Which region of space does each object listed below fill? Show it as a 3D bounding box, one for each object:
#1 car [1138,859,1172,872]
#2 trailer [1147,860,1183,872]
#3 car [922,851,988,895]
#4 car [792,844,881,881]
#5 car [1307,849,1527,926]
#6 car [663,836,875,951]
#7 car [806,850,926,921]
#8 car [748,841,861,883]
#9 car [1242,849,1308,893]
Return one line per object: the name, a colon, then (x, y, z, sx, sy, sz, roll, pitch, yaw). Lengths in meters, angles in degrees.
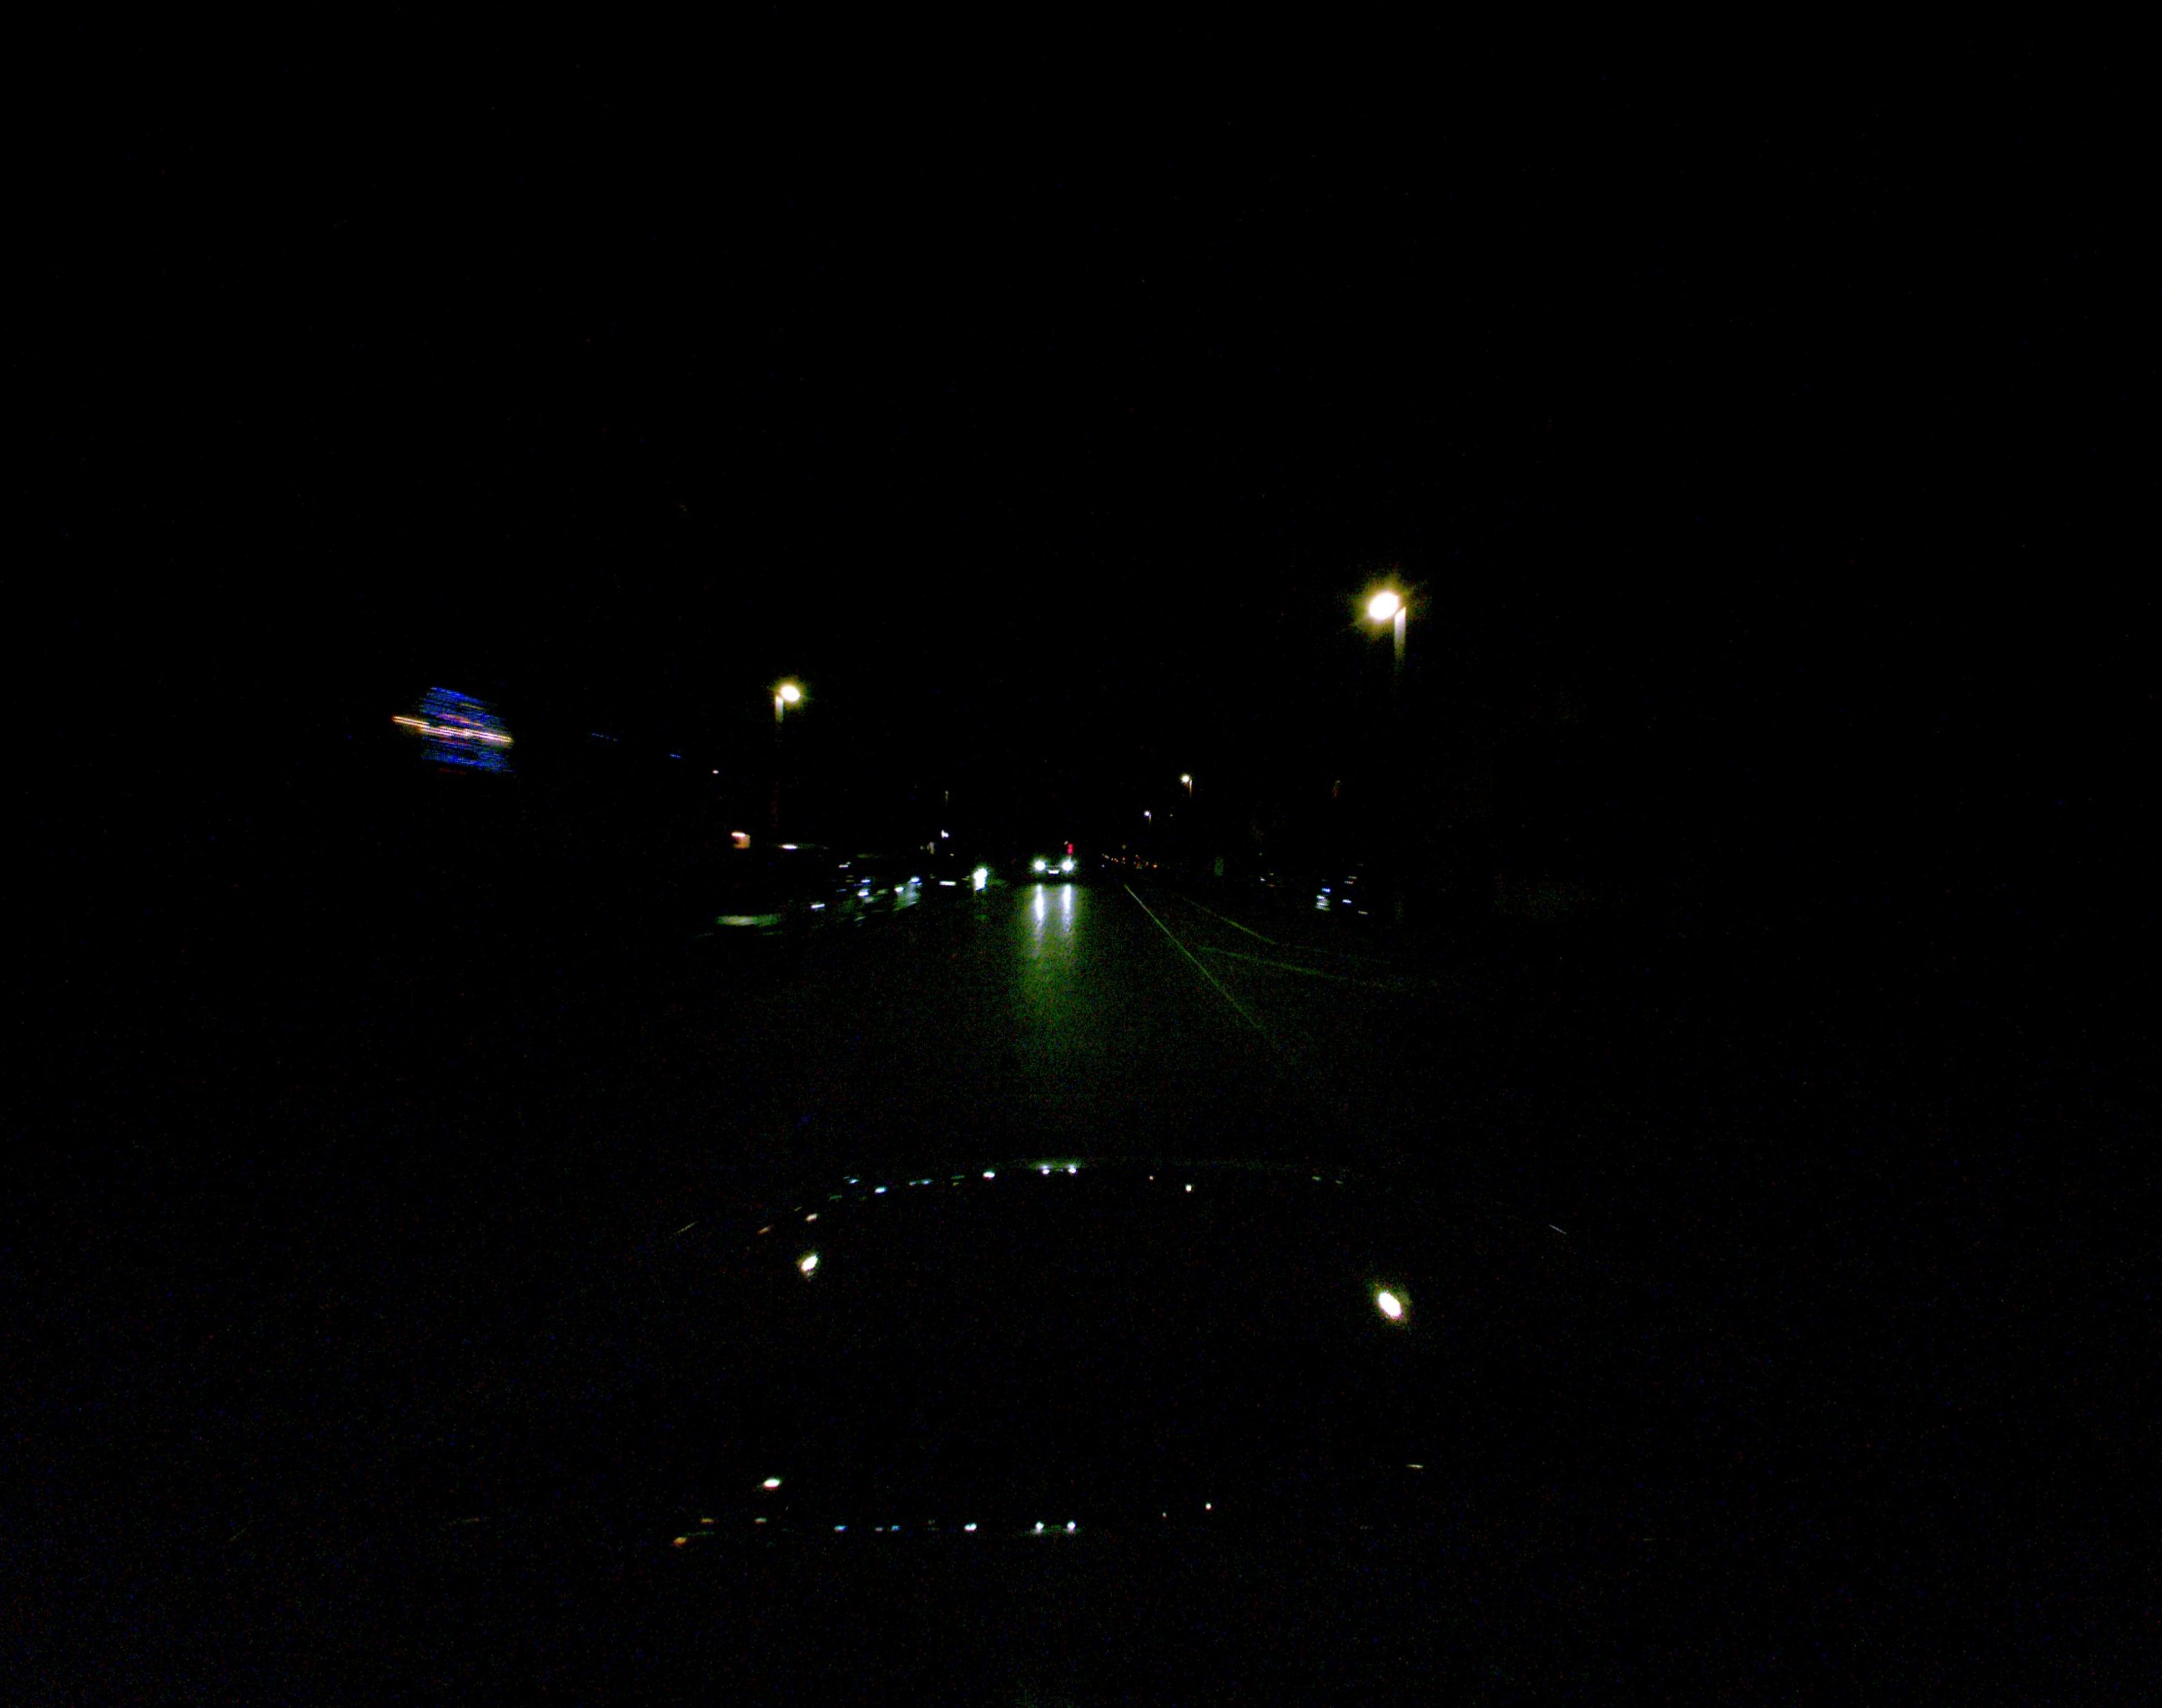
car: (7.809, 1.175, 85.891, 3.382, 1.232, 1.723, -2, 0, -1)
trailer: (8.492, 1.227, 82.129, 3.420, 1.002, 1.954, 4, -1, 0)
car: (-4.546, 0.664, 29.902, 1.743, 1.468, 4.008, 2, 0, 0)
car: (-12.380, 0.427, 41.477, 3.982, 1.703, 1.944, -1, 0, -7)
car: (6.961, 0.671, 17.163, 3.891, 1.486, 1.832, -1, 0, 0)
car: (-5.163, 0.586, 14.259, 1.922, 1.636, 4.470, 2, 0, 0)
car: (-5.023, 0.682, 19.608, 1.765, 1.468, 3.966, 2, 0, 0)
car: (-11.787, 0.332, 34.903, 4.100, 1.662, 2.001, -1, 0, 2)
car: (7.267, 0.618, 30.768, 1.634, 1.560, 3.678, 0, 0, 0)
